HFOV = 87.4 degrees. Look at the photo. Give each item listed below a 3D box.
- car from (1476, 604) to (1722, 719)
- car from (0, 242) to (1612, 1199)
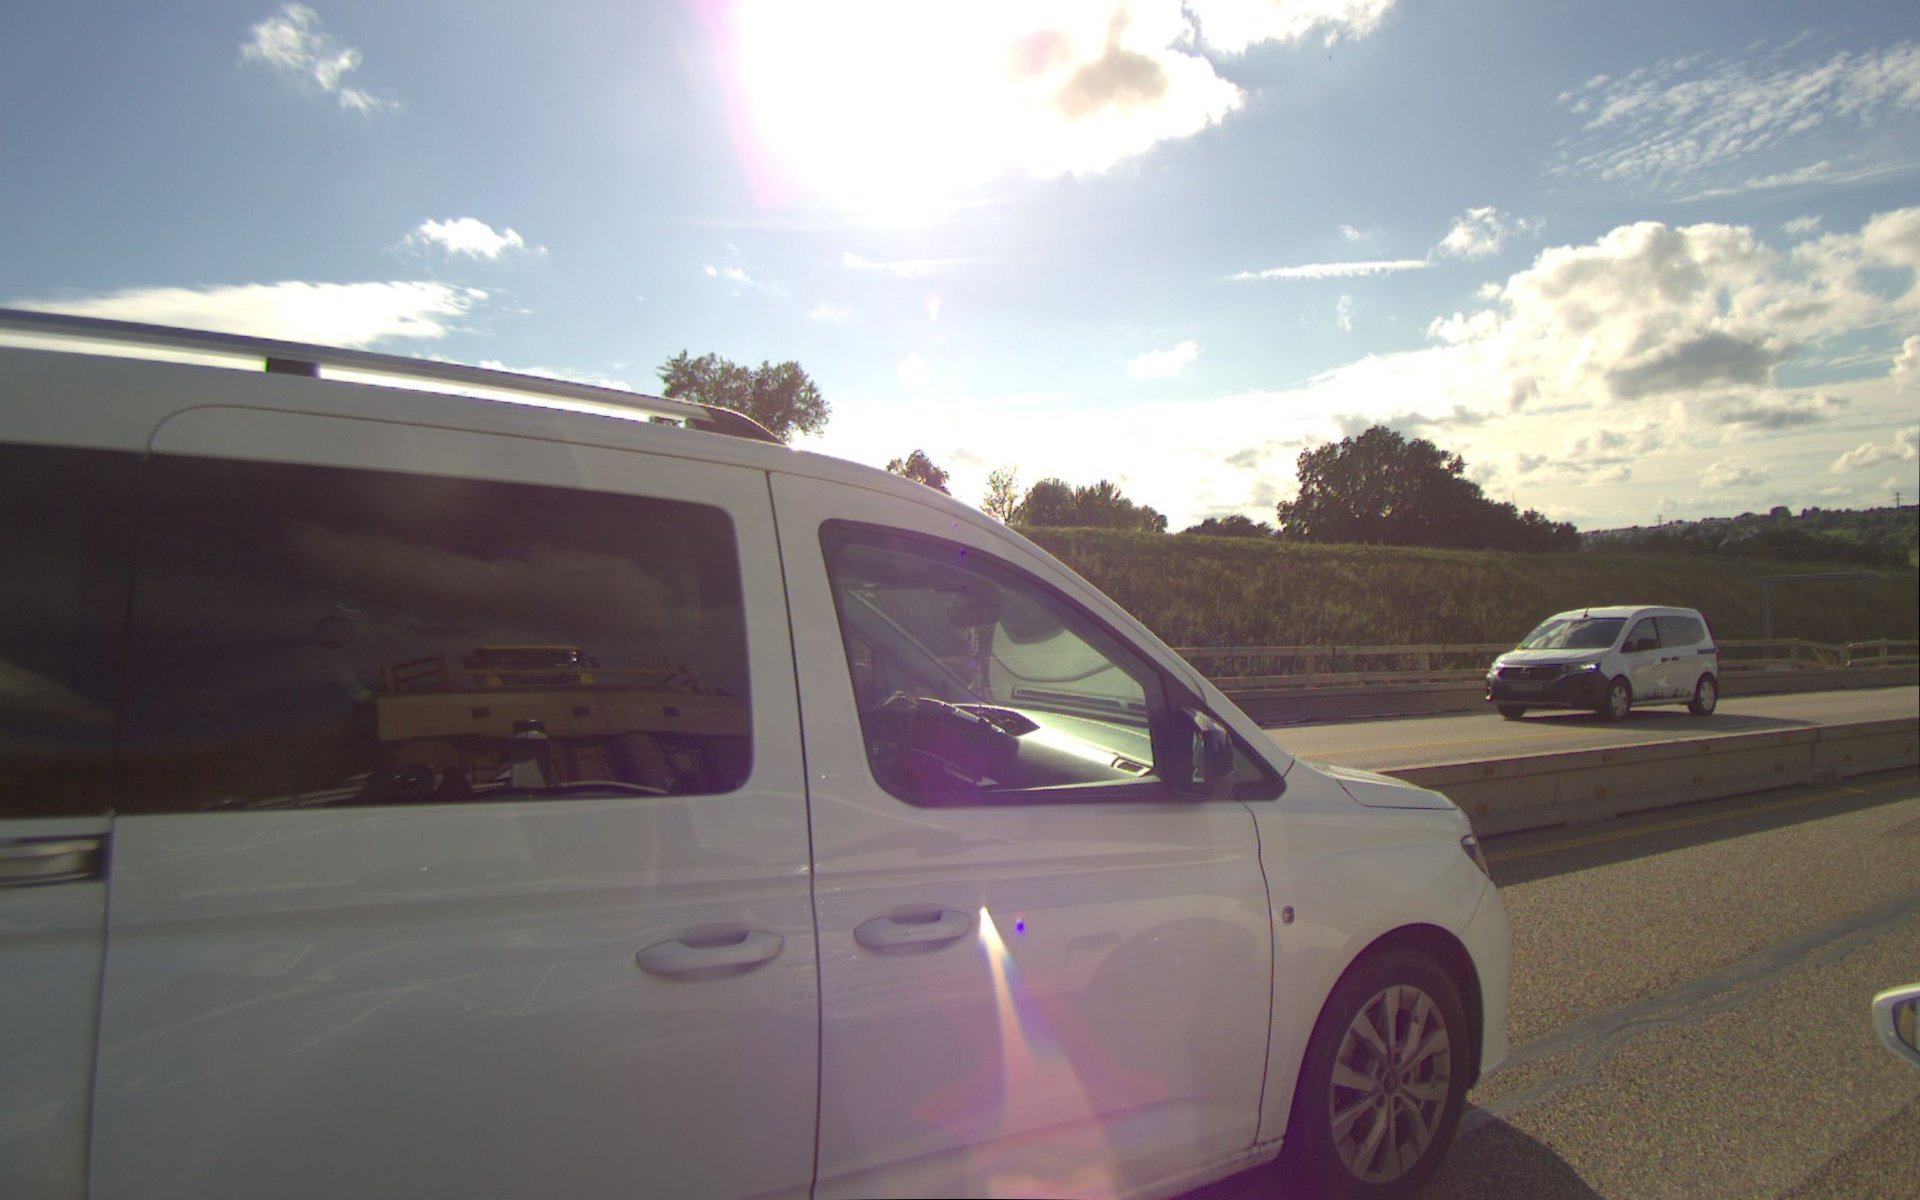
[{"bbox_3d":[10.496,0.956,16.438,4.171,1.681,1.725,1,-3,-32],"label":"car"},{"bbox_3d":[-0.461,0.532,2.548,4.405,1.848,1.813,1,1,-31],"label":"car"}]
